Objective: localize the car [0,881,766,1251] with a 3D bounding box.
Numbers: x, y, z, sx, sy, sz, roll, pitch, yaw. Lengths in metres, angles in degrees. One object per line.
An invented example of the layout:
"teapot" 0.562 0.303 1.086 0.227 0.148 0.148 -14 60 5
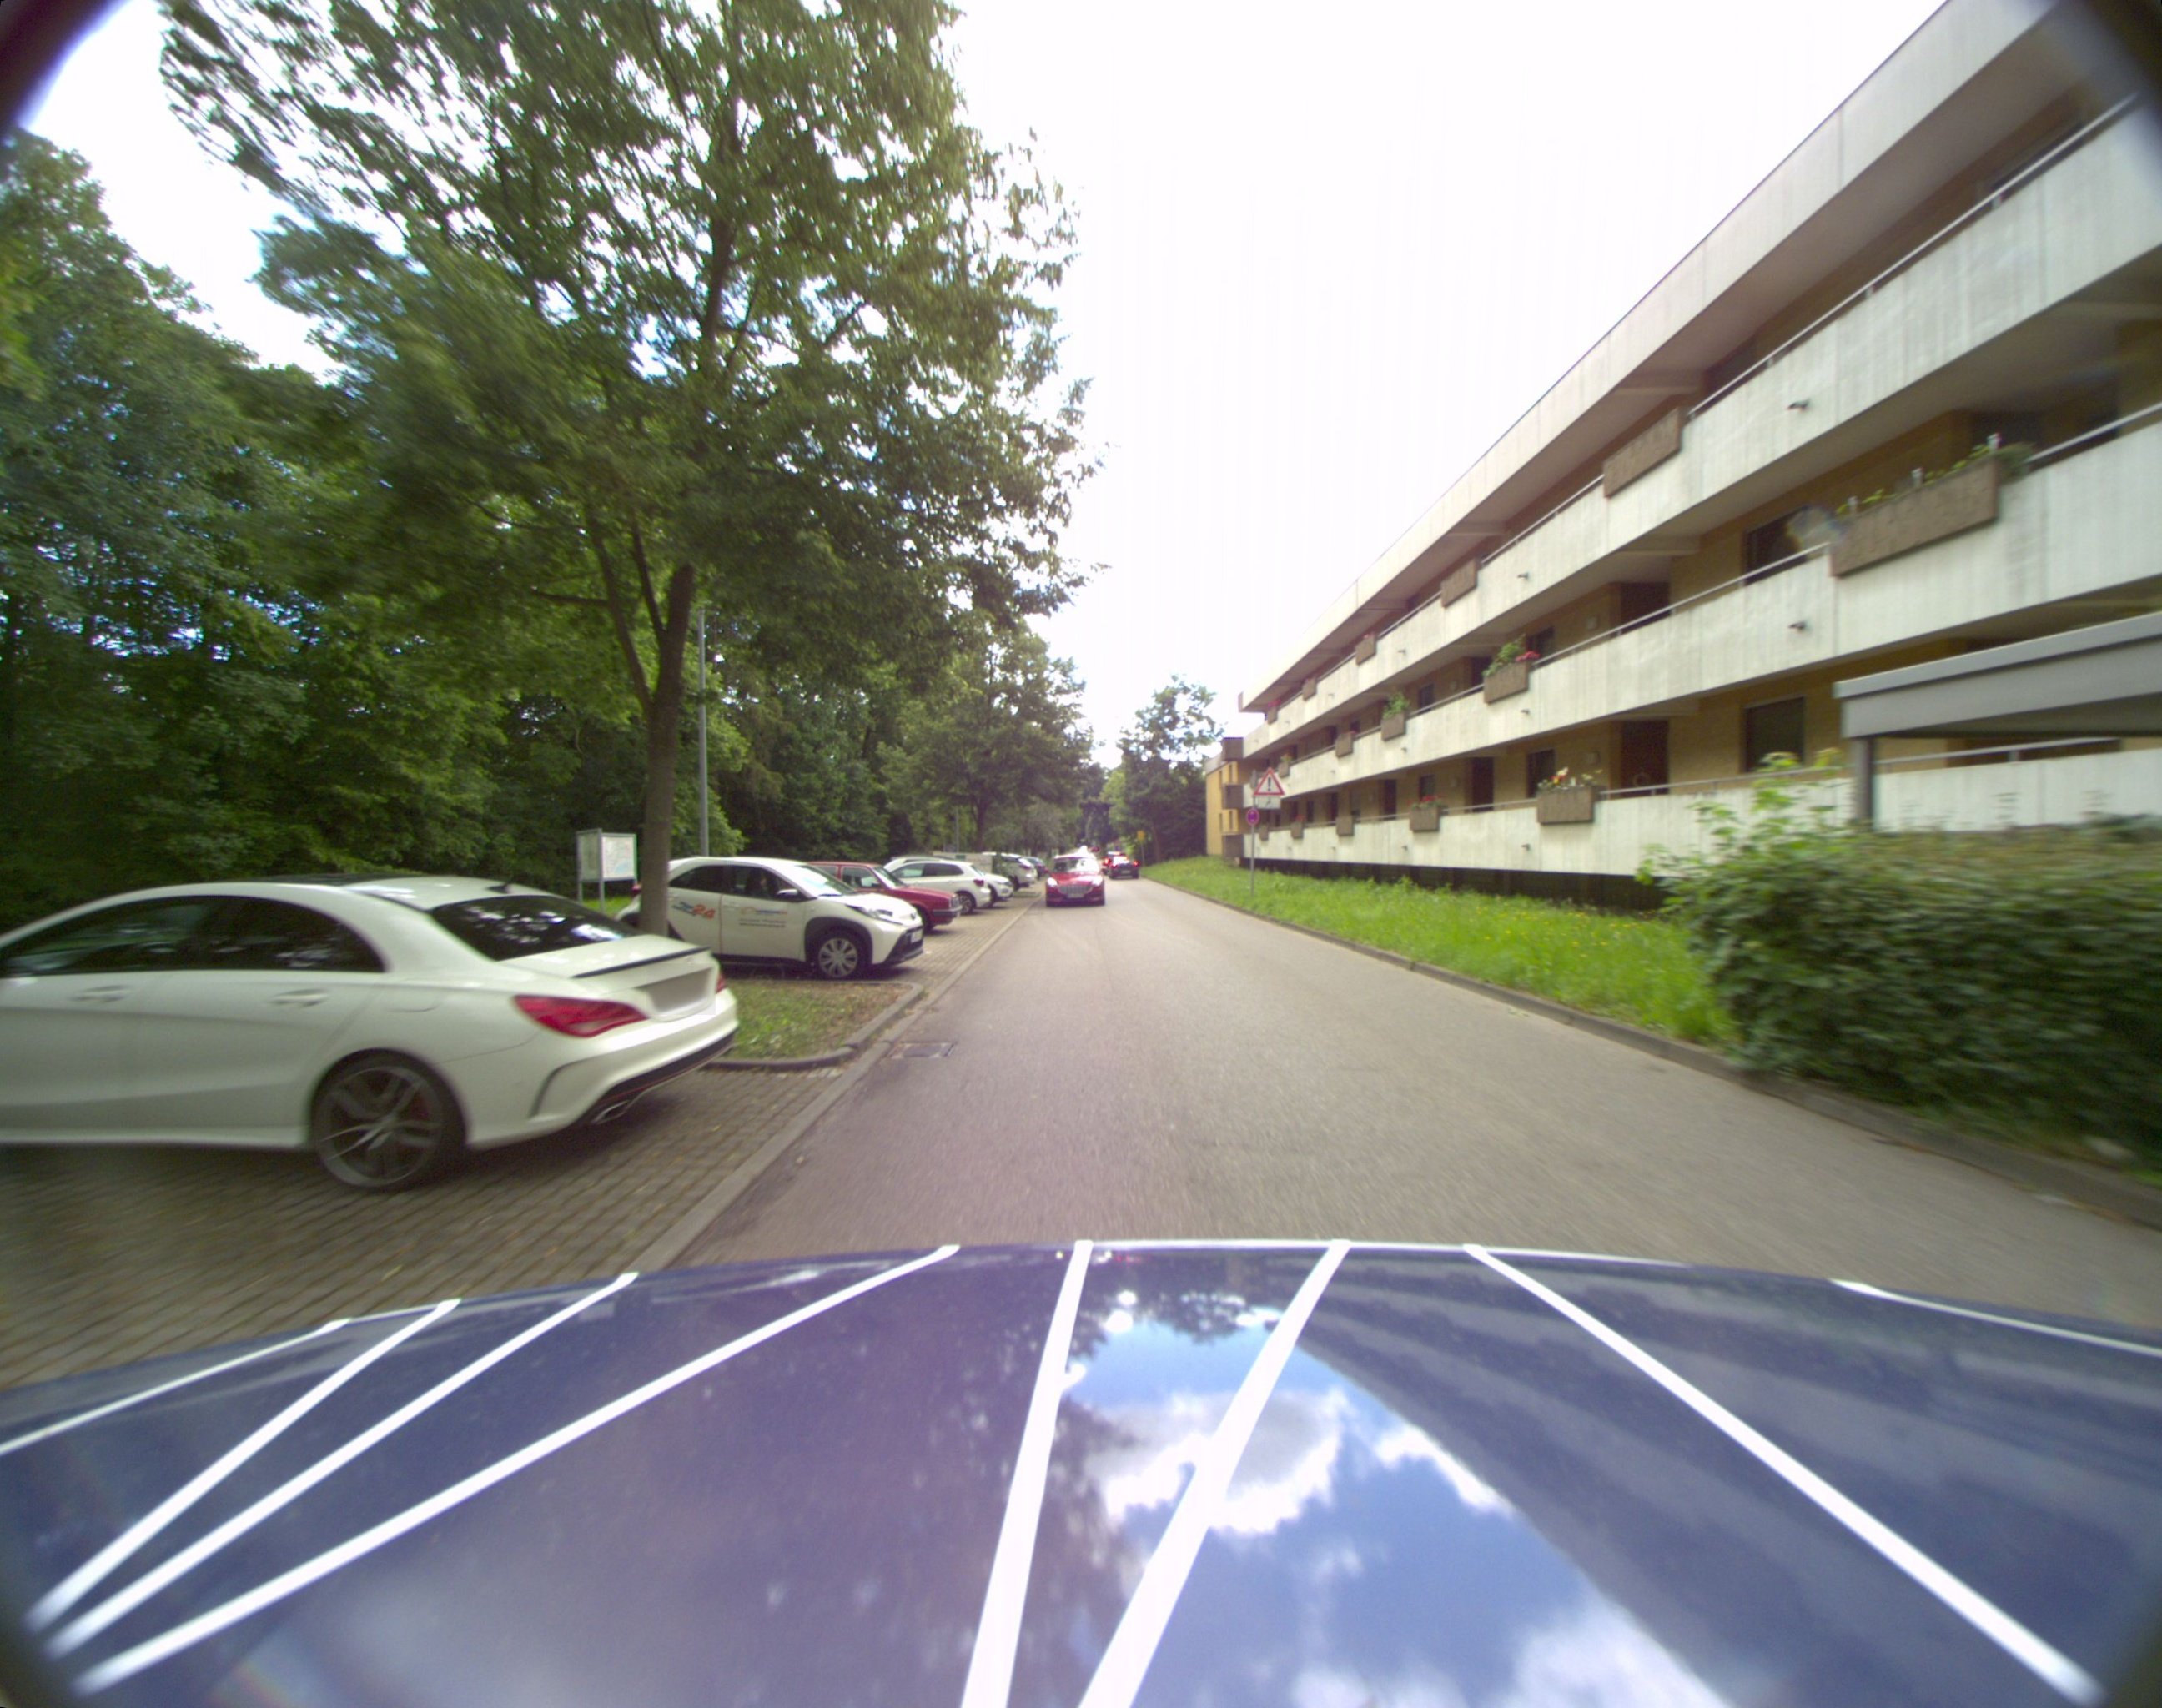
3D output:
"car" -4.368 0.938 4.167 4.497 1.446 1.846 1 1 0

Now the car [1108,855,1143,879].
"car" 2.840 0.790 48.964 1.918 1.403 4.423 -2 0 0

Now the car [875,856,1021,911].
"car" -3.916 0.861 22.982 4.124 1.539 1.860 1 1 -3

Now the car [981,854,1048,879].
"car" -4.179 0.773 48.524 4.146 1.561 1.785 0 1 -1

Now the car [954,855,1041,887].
"car" -4.240 0.851 38.872 4.168 1.561 1.851 0 1 2

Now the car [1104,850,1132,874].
"car" 2.810 0.550 58.780 1.918 1.707 5.058 -2 0 0

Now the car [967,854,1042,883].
"car" -4.372 0.806 43.645 4.170 1.561 1.785 0 1 -4

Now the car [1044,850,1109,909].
"car" -0.143 0.765 25.443 1.918 1.707 5.038 -2 0 0

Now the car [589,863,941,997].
"car" -3.981 0.913 10.030 3.849 1.507 1.881 1 1 3

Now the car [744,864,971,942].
"car" -4.396 0.944 15.439 4.064 1.414 1.816 1 1 -1

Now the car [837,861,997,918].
"car" -4.341 0.924 20.566 4.020 1.414 1.791 1 1 -5

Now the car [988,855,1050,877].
"car" -4.126 0.799 51.170 4.097 1.455 1.785 0 1 -1

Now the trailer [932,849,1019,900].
"trailer" -3.870 0.734 28.194 3.038 1.780 1.563 1 1 -3

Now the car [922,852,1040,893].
"car" -4.338 0.786 33.336 4.828 1.683 1.974 1 1 3
